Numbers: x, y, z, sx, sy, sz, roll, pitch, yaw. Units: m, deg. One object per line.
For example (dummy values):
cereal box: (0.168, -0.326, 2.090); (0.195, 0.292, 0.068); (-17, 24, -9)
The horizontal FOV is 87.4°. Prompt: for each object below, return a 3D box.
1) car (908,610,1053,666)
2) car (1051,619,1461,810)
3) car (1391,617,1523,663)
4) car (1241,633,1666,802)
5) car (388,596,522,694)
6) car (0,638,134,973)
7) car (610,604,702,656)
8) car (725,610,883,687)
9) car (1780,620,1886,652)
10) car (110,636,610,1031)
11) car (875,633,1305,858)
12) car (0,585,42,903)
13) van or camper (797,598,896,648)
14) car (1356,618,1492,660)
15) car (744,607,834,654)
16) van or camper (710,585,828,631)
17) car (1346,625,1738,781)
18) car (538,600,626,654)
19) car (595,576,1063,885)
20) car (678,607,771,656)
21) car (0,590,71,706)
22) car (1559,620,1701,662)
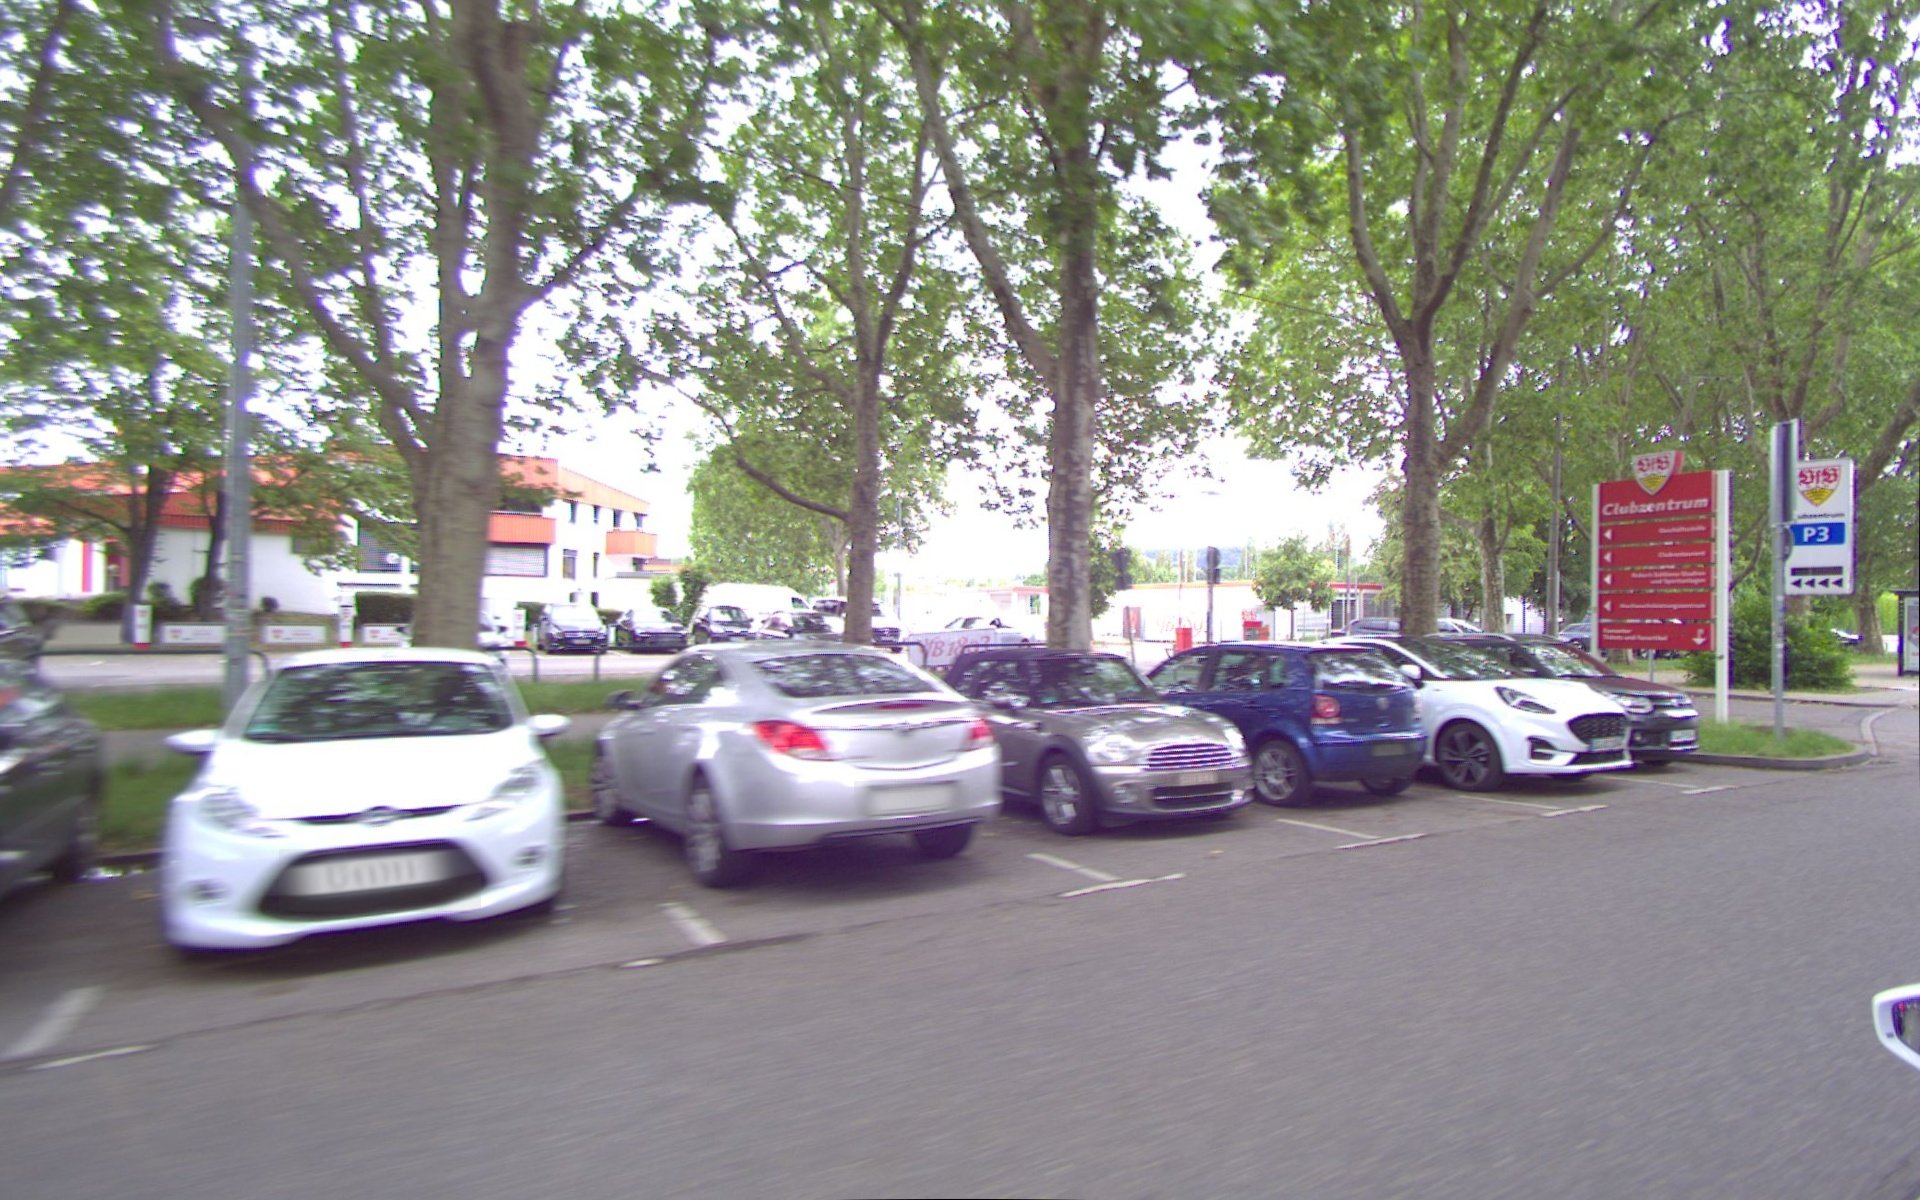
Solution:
car: (0.743, 1.166, 31.745); (2.067, 1.572, 4.959); (1, -1, 37)
car: (2.834, 1.002, 10.489); (1.810, 1.513, 3.975); (2, -1, -30)
car: (18.425, 1.444, 37.402); (1.978, 1.543, 3.969); (2, -1, -29)
car: (5.254, 1.144, 11.280); (1.886, 1.403, 3.980); (2, -1, -26)
car: (-10.149, 0.815, 20.018); (2.107, 1.732, 4.299); (2, -1, -30)
car: (-5.554, 0.936, 4.754); (1.945, 1.372, 4.166); (2, -1, -32)
car: (-10.076, 0.949, 33.054); (1.936, 1.569, 4.299); (2, -1, -30)
car: (-3.718, 1.049, 23.250); (2.178, 1.569, 4.299); (2, -1, -30)
car: (46.493, 1.903, 53.572); (2.213, 1.626, 3.956); (2, -2, -38)
car: (-3.525, 0.999, 6.143); (1.864, 1.423, 3.967); (2, -1, -31)
car: (0.905, 1.079, 9.080); (1.840, 1.424, 3.968); (2, -1, -30)
car: (-5.638, 0.762, 4.077); (1.845, 1.834, 4.299); (1, -3, -29)
van or camper: (-4.308, 0.812, 37.425); (2.107, 1.732, 4.299); (2, -1, -30)
car: (16.350, 1.352, 35.581); (1.978, 1.341, 3.968); (2, -1, -30)
car: (-6.166, 1.056, 35.861); (1.769, 1.569, 4.196); (2, -1, -31)
van or camper: (-9.202, 0.401, 48.526); (5.242, 2.040, 1.983); (2, -1, -31)
car: (7.146, 1.149, 12.782); (1.782, 1.561, 3.978); (2, -1, -28)
car: (-12.086, 0.818, 31.949); (1.936, 1.569, 4.299); (2, -1, -30)
car: (-1.274, 0.802, 7.433); (1.887, 1.568, 4.243); (2, -4, -31)
car: (-8.252, 1.049, 34.917); (1.936, 1.569, 4.299); (2, -1, -30)
car: (-16.625, 0.707, 16.403); (2.270, 1.785, 4.496); (2, -1, -30)
car: (28.523, 1.734, 42.934); (2.082, 1.588, 4.609); (2, -1, -27)
